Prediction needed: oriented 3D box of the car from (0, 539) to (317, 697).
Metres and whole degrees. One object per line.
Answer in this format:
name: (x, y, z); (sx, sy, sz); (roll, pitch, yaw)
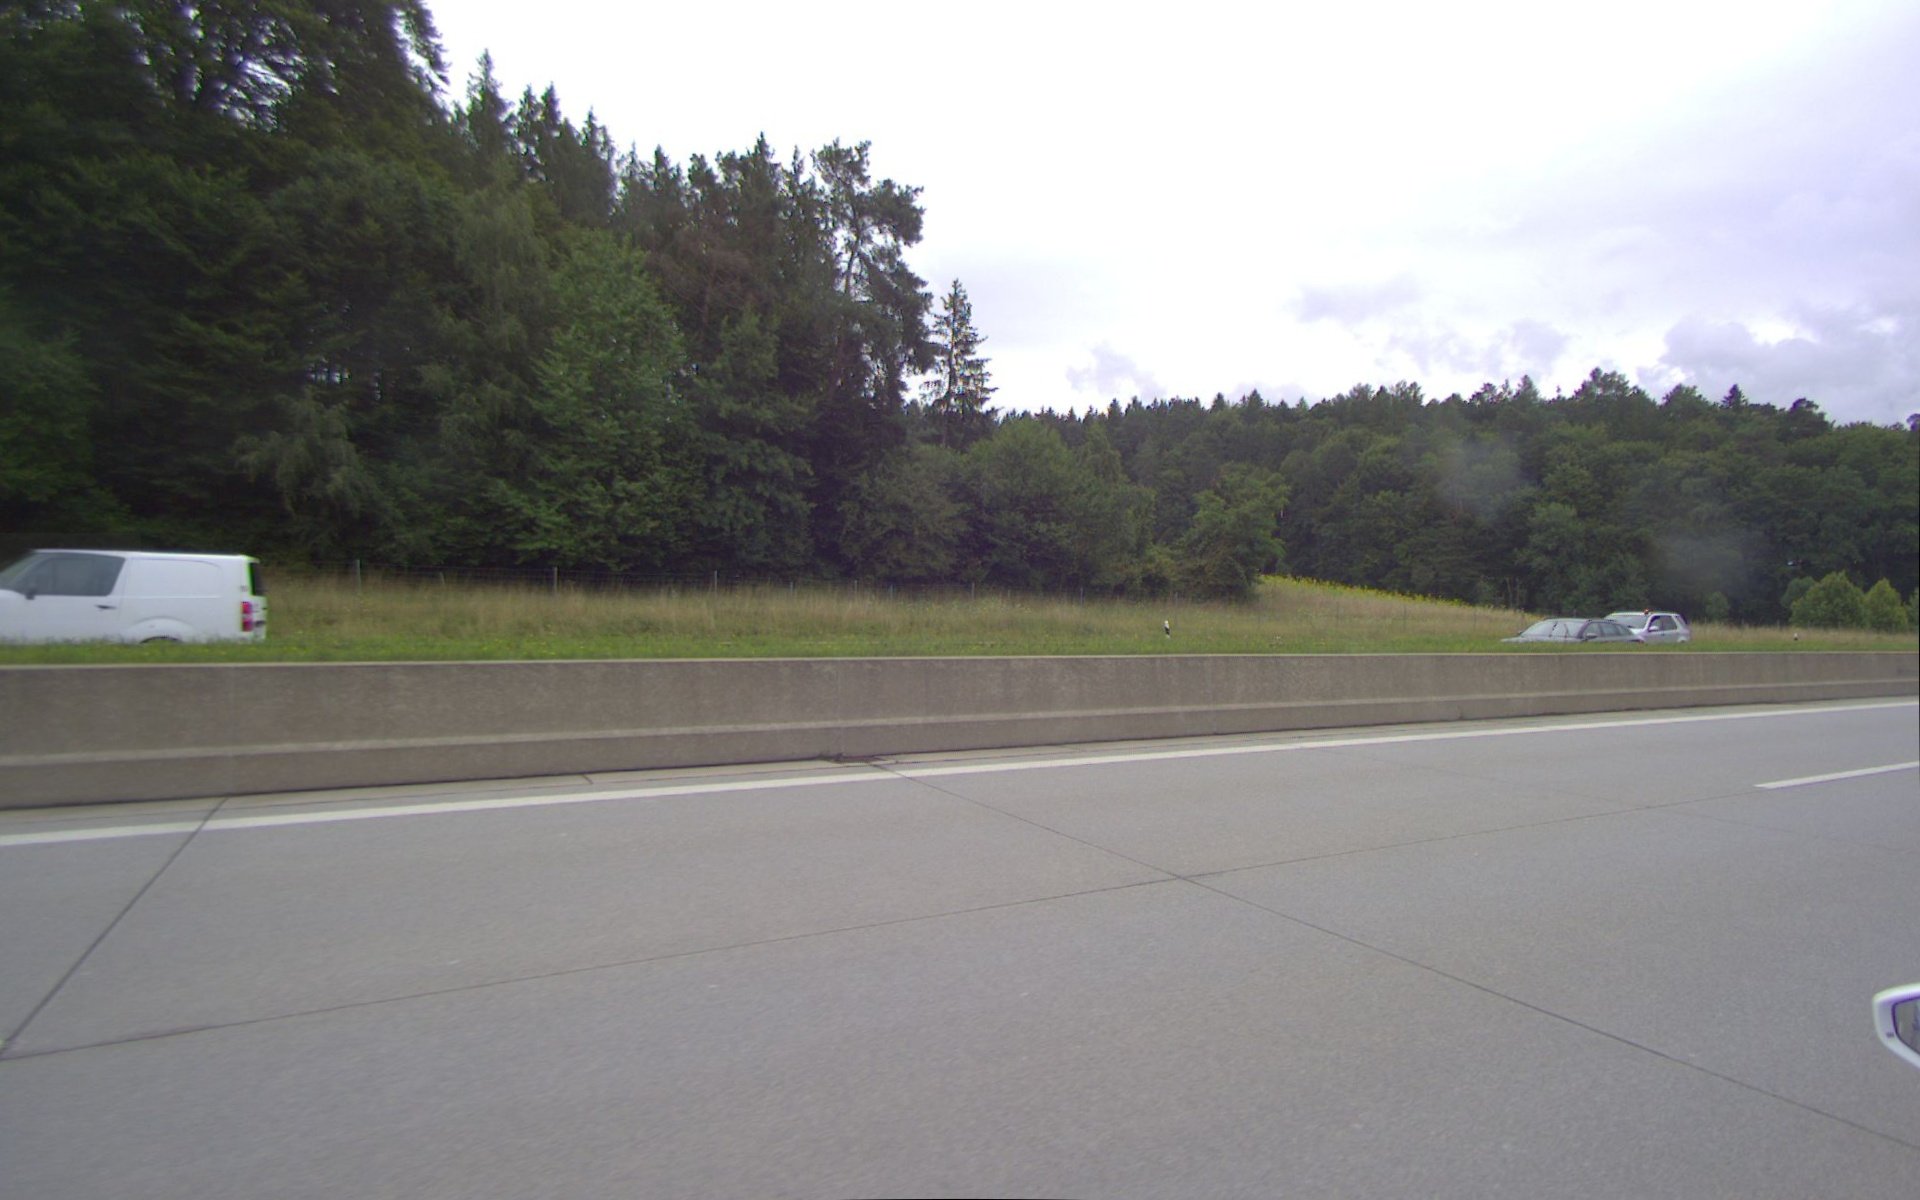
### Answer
car: (-12.178, 0.229, 13.764); (5.563, 1.982, 1.983); (1, 0, -32)

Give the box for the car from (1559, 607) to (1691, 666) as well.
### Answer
car: (22.310, 1.195, 33.686); (4.340, 1.824, 1.984); (1, 0, -31)
